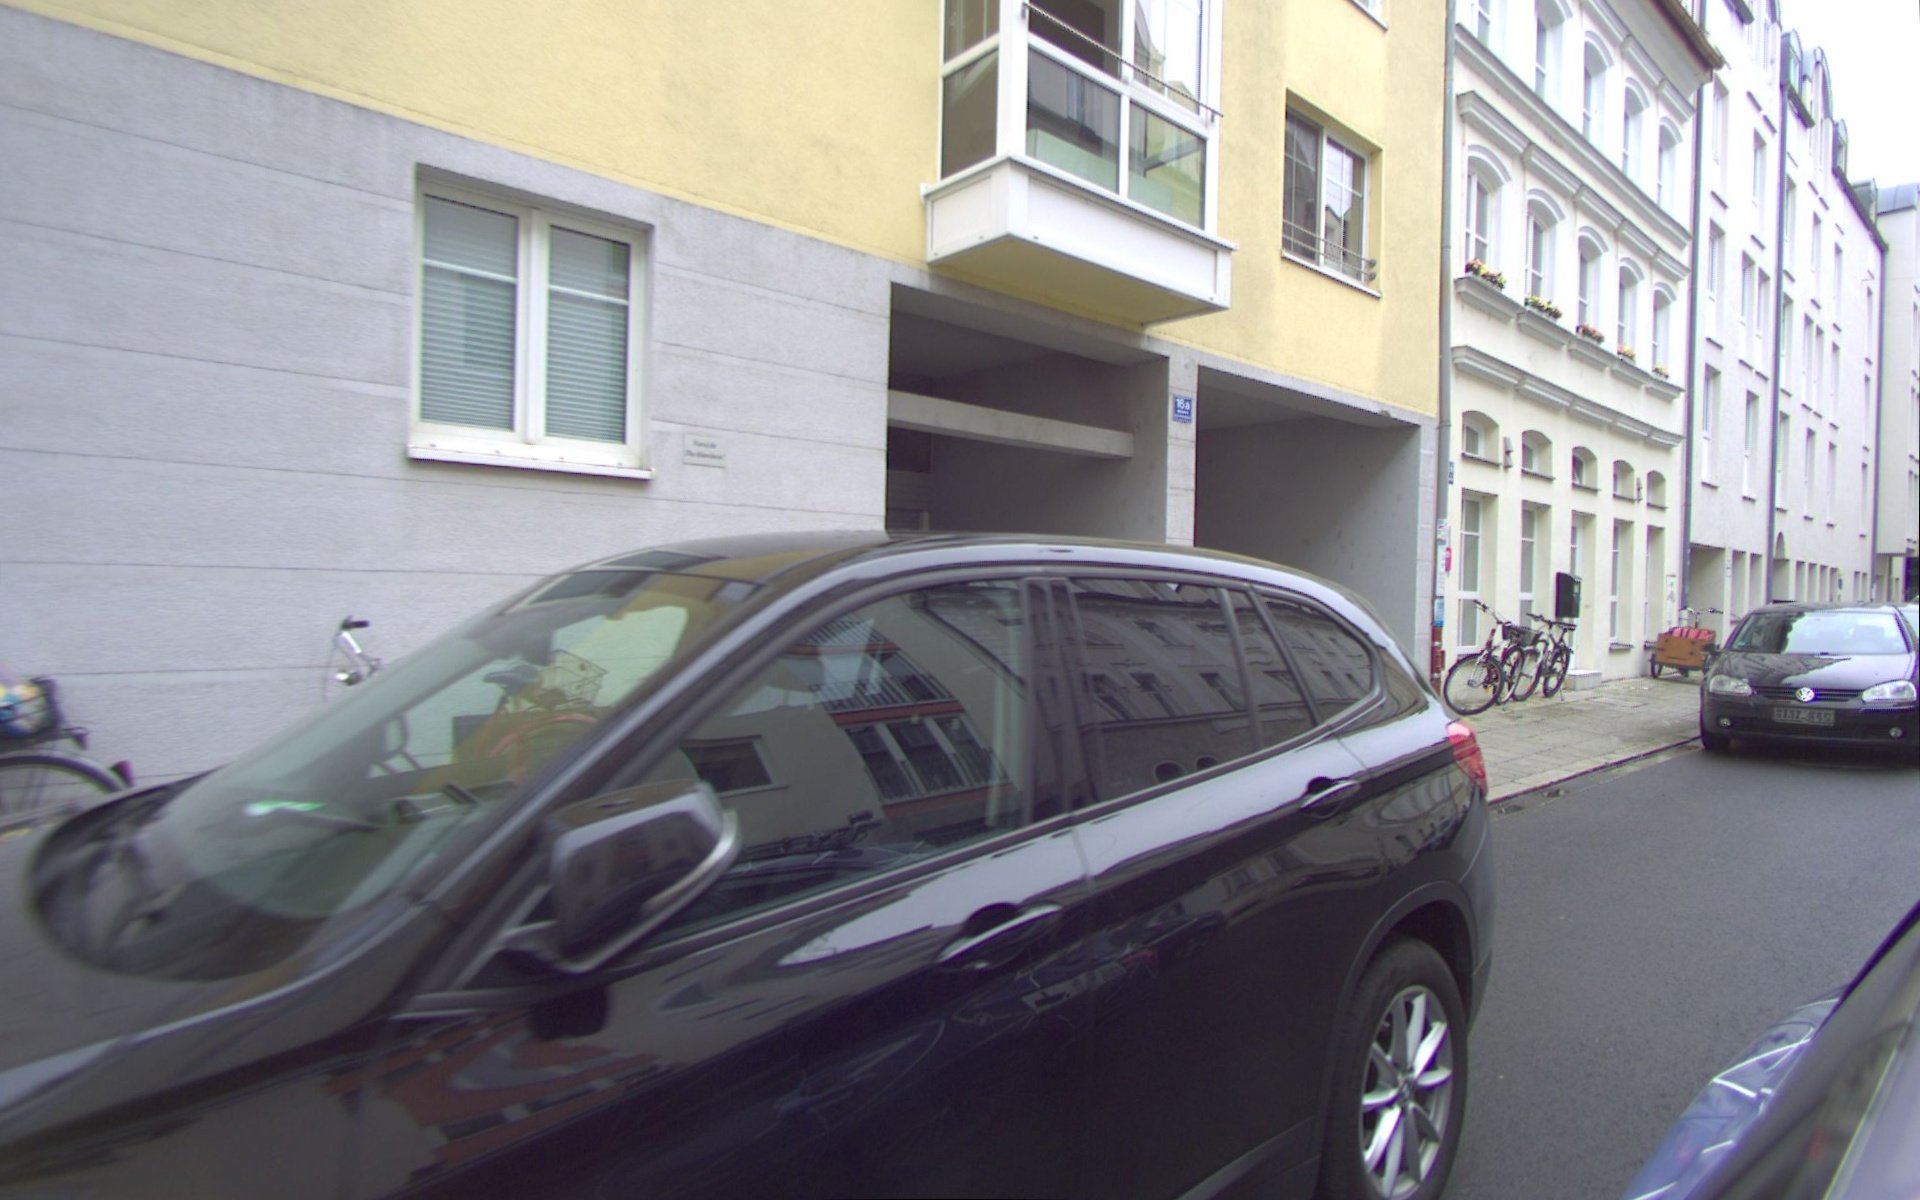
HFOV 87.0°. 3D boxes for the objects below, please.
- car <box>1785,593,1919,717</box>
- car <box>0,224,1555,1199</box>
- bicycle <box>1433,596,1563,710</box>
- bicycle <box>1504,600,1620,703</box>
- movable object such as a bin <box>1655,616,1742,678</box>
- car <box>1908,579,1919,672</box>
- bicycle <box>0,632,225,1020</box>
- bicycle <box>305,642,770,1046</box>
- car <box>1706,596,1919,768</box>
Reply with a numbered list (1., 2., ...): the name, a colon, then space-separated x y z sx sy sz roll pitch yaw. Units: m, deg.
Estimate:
1. car: 12.444 0.644 13.464 3.622 1.459 1.737 0 0 -42
2. car: -0.451 0.570 2.181 4.156 1.707 1.835 0 0 -42
3. bicycle: 6.207 0.590 11.635 1.835 1.176 0.636 2 2 -41
4. bicycle: 7.691 0.636 12.898 1.835 1.175 0.636 2 4 -41
5. movable object such as a bin: 12.086 0.779 16.548 1.620 0.945 0.739 3 -7 -41
6. car: 20.106 0.481 19.974 3.622 1.775 1.737 0 0 -42
7. bicycle: -3.464 0.693 3.130 1.835 1.177 0.635 3 -2 -41
8. bicycle: -1.802 0.960 4.570 1.835 1.490 0.433 3 -2 -41
9. car: 9.163 0.688 10.536 1.745 1.459 4.162 0 0 44
